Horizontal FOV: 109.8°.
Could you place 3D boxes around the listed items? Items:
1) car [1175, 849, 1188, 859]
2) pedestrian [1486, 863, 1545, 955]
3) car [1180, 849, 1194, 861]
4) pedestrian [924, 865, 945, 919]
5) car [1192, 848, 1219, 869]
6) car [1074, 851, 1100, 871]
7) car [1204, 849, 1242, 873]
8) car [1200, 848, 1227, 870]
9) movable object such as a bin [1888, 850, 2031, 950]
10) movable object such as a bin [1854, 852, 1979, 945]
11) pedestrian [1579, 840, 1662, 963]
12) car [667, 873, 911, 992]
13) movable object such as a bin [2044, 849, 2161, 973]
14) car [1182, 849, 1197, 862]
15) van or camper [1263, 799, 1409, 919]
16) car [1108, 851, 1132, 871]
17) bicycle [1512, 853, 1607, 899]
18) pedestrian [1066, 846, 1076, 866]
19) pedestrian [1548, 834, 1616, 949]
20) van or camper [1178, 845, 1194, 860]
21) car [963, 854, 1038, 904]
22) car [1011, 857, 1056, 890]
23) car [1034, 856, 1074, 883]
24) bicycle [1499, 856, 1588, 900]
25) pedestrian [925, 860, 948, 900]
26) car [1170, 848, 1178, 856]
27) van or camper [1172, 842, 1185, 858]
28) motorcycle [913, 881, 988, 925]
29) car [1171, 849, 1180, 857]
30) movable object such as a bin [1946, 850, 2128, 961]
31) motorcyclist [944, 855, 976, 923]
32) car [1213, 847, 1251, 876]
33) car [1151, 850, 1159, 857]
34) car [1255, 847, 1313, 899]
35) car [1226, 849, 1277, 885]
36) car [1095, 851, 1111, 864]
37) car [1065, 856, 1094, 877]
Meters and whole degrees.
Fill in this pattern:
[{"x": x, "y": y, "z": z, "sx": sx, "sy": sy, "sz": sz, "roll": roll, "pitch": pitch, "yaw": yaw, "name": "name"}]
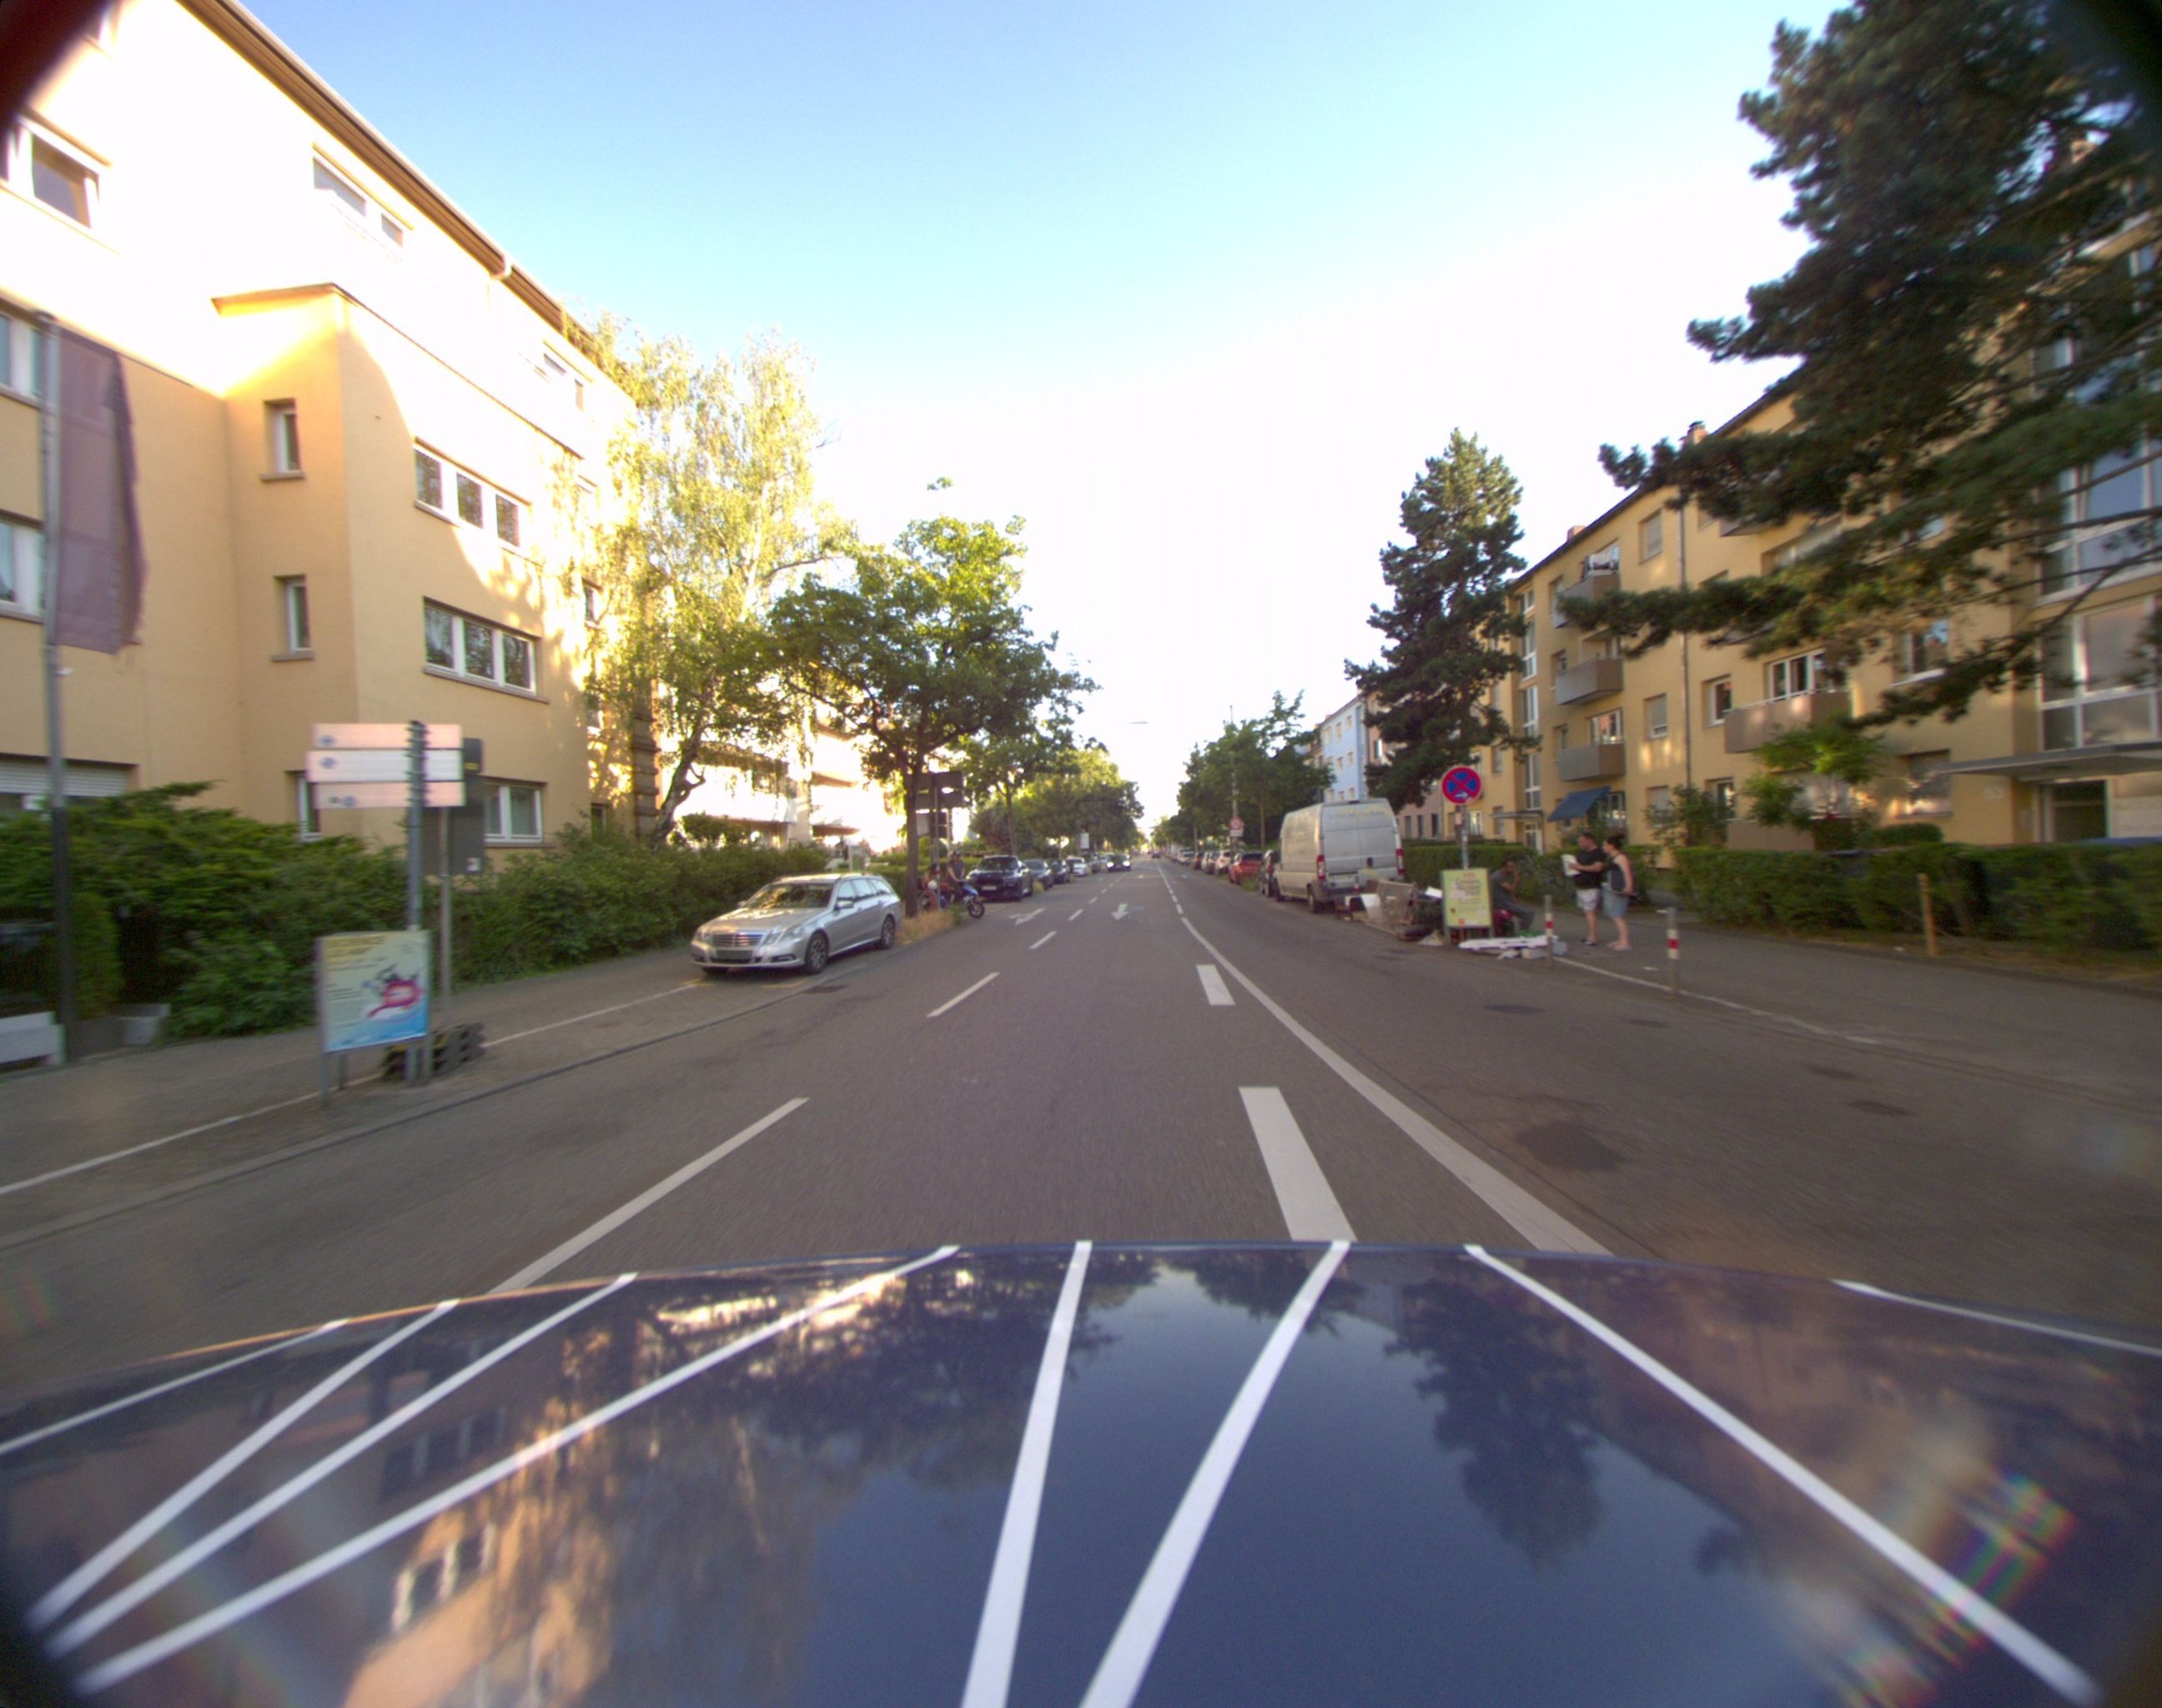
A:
[{"x": 15.198, "y": -0.005, "z": 115.373, "sx": 1.808, "sy": 1.489, "sz": 3.958, "roll": -3, "pitch": 0, "yaw": 7, "name": "car"}, {"x": 6.742, "y": 0.841, "z": 11.798, "sx": 0.560, "sy": 1.370, "sz": 0.480, "roll": -4, "pitch": 1, "yaw": 0, "name": "pedestrian"}, {"x": 13.480, "y": 0.146, "z": 96.482, "sx": 1.577, "sy": 1.460, "sz": 3.492, "roll": -4, "pitch": 0, "yaw": 7, "name": "car"}, {"x": -3.986, "y": 1.027, "z": 20.653, "sx": 0.439, "sy": 1.422, "sz": 0.704, "roll": -3, "pitch": 1, "yaw": -6, "name": "pedestrian"}, {"x": 10.301, "y": 0.337, "z": 63.197, "sx": 1.841, "sy": 1.508, "sz": 4.317, "roll": -4, "pitch": 0, "yaw": 6, "name": "car"}, {"x": 0.552, "y": 0.558, "z": 65.817, "sx": 1.920, "sy": 1.672, "sz": 4.708, "roll": -1, "pitch": 0, "yaw": 4, "name": "car"}, {"x": 9.425, "y": 0.407, "z": 50.819, "sx": 1.998, "sy": 1.439, "sz": 4.459, "roll": -2, "pitch": 0, "yaw": 5, "name": "car"}, {"x": 10.098, "y": 0.380, "z": 58.058, "sx": 1.594, "sy": 1.483, "sz": 3.642, "roll": -3, "pitch": 1, "yaw": 5, "name": "car"}, {"x": 10.106, "y": 0.516, "z": 8.765, "sx": 0.869, "sy": 1.044, "sz": 0.582, "roll": -5, "pitch": 0, "yaw": 4, "name": "movable object such as a bin"}, {"x": 10.267, "y": 0.527, "z": 9.360, "sx": 0.813, "sy": 1.044, "sz": 0.582, "roll": -5, "pitch": 0, "yaw": 4, "name": "movable object such as a bin"}, {"x": 7.544, "y": 0.639, "z": 10.646, "sx": 0.606, "sy": 1.642, "sz": 0.697, "roll": -2, "pitch": 1, "yaw": -1, "name": "pedestrian"}, {"x": -4.717, "y": 1.187, "z": 13.234, "sx": 1.859, "sy": 1.503, "sz": 4.836, "roll": -1, "pitch": 0, "yaw": 7, "name": "car"}, {"x": 10.054, "y": 0.512, "z": 7.169, "sx": 0.869, "sy": 1.044, "sz": 0.769, "roll": -5, "pitch": 0, "yaw": 4, "name": "movable object such as a bin"}, {"x": 13.034, "y": 0.174, "z": 91.445, "sx": 1.683, "sy": 1.434, "sz": 3.883, "roll": -4, "pitch": 0, "yaw": 7, "name": "car"}, {"x": 6.664, "y": 0.103, "z": 20.732, "sx": 2.040, "sy": 2.648, "sz": 6.016, "roll": -4, "pitch": 0, "yaw": 3, "name": "van or camper"}, {"x": 3.458, "y": 0.588, "z": 66.585, "sx": 1.998, "sy": 1.525, "sz": 4.001, "roll": -3, "pitch": 0, "yaw": 4, "name": "car"}, {"x": 11.338, "y": 0.510, "z": 18.041, "sx": 1.789, "sy": 0.976, "sz": 0.590, "roll": -3, "pitch": 1, "yaw": 6, "name": "bicycle"}, {"x": -0.907, "y": 0.208, "z": 70.861, "sx": 0.669, "sy": 1.773, "sz": 0.764, "roll": -5, "pitch": 3, "yaw": 5, "name": "pedestrian"}, {"x": 7.498, "y": 0.541, "z": 11.389, "sx": 0.481, "sy": 1.642, "sz": 0.725, "roll": -3, "pitch": 1, "yaw": -1, "name": "pedestrian"}, {"x": 14.655, "y": -0.244, "z": 106.672, "sx": 1.808, "sy": 2.002, "sz": 4.866, "roll": -3, "pitch": 0, "yaw": 4, "name": "van or camper"}, {"x": -2.977, "y": 0.879, "z": 29.129, "sx": 1.952, "sy": 1.645, "sz": 4.797, "roll": -2, "pitch": 0, "yaw": 5, "name": "car"}, {"x": -2.311, "y": 0.938, "z": 37.974, "sx": 1.720, "sy": 1.464, "sz": 4.432, "roll": -1, "pitch": 0, "yaw": 3, "name": "car"}, {"x": -1.519, "y": 0.874, "z": 44.737, "sx": 1.774, "sy": 1.440, "sz": 4.486, "roll": -1, "pitch": 0, "yaw": 5, "name": "car"}, {"x": 11.411, "y": 0.584, "z": 18.791, "sx": 1.762, "sy": 0.976, "sz": 0.590, "roll": -3, "pitch": 1, "yaw": 6, "name": "bicycle"}, {"x": -5.854, "y": 1.047, "z": 30.778, "sx": 0.748, "sy": 1.606, "sz": 0.580, "roll": -2, "pitch": 1, "yaw": 4, "name": "pedestrian"}, {"x": 21.208, "y": -0.417, "z": 173.143, "sx": 1.808, "sy": 1.587, "sz": 3.958, "roll": -3, "pitch": 0, "yaw": 7, "name": "car"}, {"x": 16.613, "y": -0.719, "z": 129.199, "sx": 1.917, "sy": 2.528, "sz": 5.336, "roll": -2, "pitch": 0, "yaw": 5, "name": "van or camper"}, {"x": -3.552, "y": 1.329, "z": 20.815, "sx": 1.931, "sy": 1.065, "sz": 0.820, "roll": -3, "pitch": 1, "yaw": -6, "name": "motorcycle"}, {"x": 19.313, "y": -0.269, "z": 155.247, "sx": 1.762, "sy": 1.439, "sz": 3.788, "roll": -2, "pitch": 0, "yaw": 10, "name": "car"}, {"x": 10.072, "y": 0.522, "z": 8.042, "sx": 0.869, "sy": 1.044, "sz": 0.769, "roll": -5, "pitch": 0, "yaw": 4, "name": "movable object such as a bin"}, {"x": -3.311, "y": 0.938, "z": 20.861, "sx": 0.738, "sy": 1.768, "sz": 1.088, "roll": -3, "pitch": 1, "yaw": -6, "name": "motorcyclist"}, {"x": 9.032, "y": 0.422, "z": 45.720, "sx": 1.780, "sy": 1.579, "sz": 4.187, "roll": -3, "pitch": 0, "yaw": 6, "name": "car"}, {"x": 17.162, "y": -0.086, "z": 176.890, "sx": 1.698, "sy": 1.570, "sz": 3.832, "roll": -3, "pitch": 0, "yaw": 4, "name": "car"}, {"x": 6.770, "y": 0.596, "z": 25.578, "sx": 1.406, "sy": 1.539, "sz": 2.763, "roll": -4, "pitch": 0, "yaw": 7, "name": "car"}, {"x": 7.744, "y": 0.568, "z": 34.759, "sx": 1.720, "sy": 1.443, "sz": 3.924, "roll": -3, "pitch": 0, "yaw": 5, "name": "car"}, {"x": 2.582, "y": 0.360, "z": 88.924, "sx": 1.738, "sy": 1.435, "sz": 4.306, "roll": -2, "pitch": 0, "yaw": 4, "name": "car"}, {"x": -0.086, "y": 0.910, "z": 56.697, "sx": 1.765, "sy": 1.394, "sz": 4.335, "roll": -1, "pitch": 0, "yaw": 5, "name": "car"}]
